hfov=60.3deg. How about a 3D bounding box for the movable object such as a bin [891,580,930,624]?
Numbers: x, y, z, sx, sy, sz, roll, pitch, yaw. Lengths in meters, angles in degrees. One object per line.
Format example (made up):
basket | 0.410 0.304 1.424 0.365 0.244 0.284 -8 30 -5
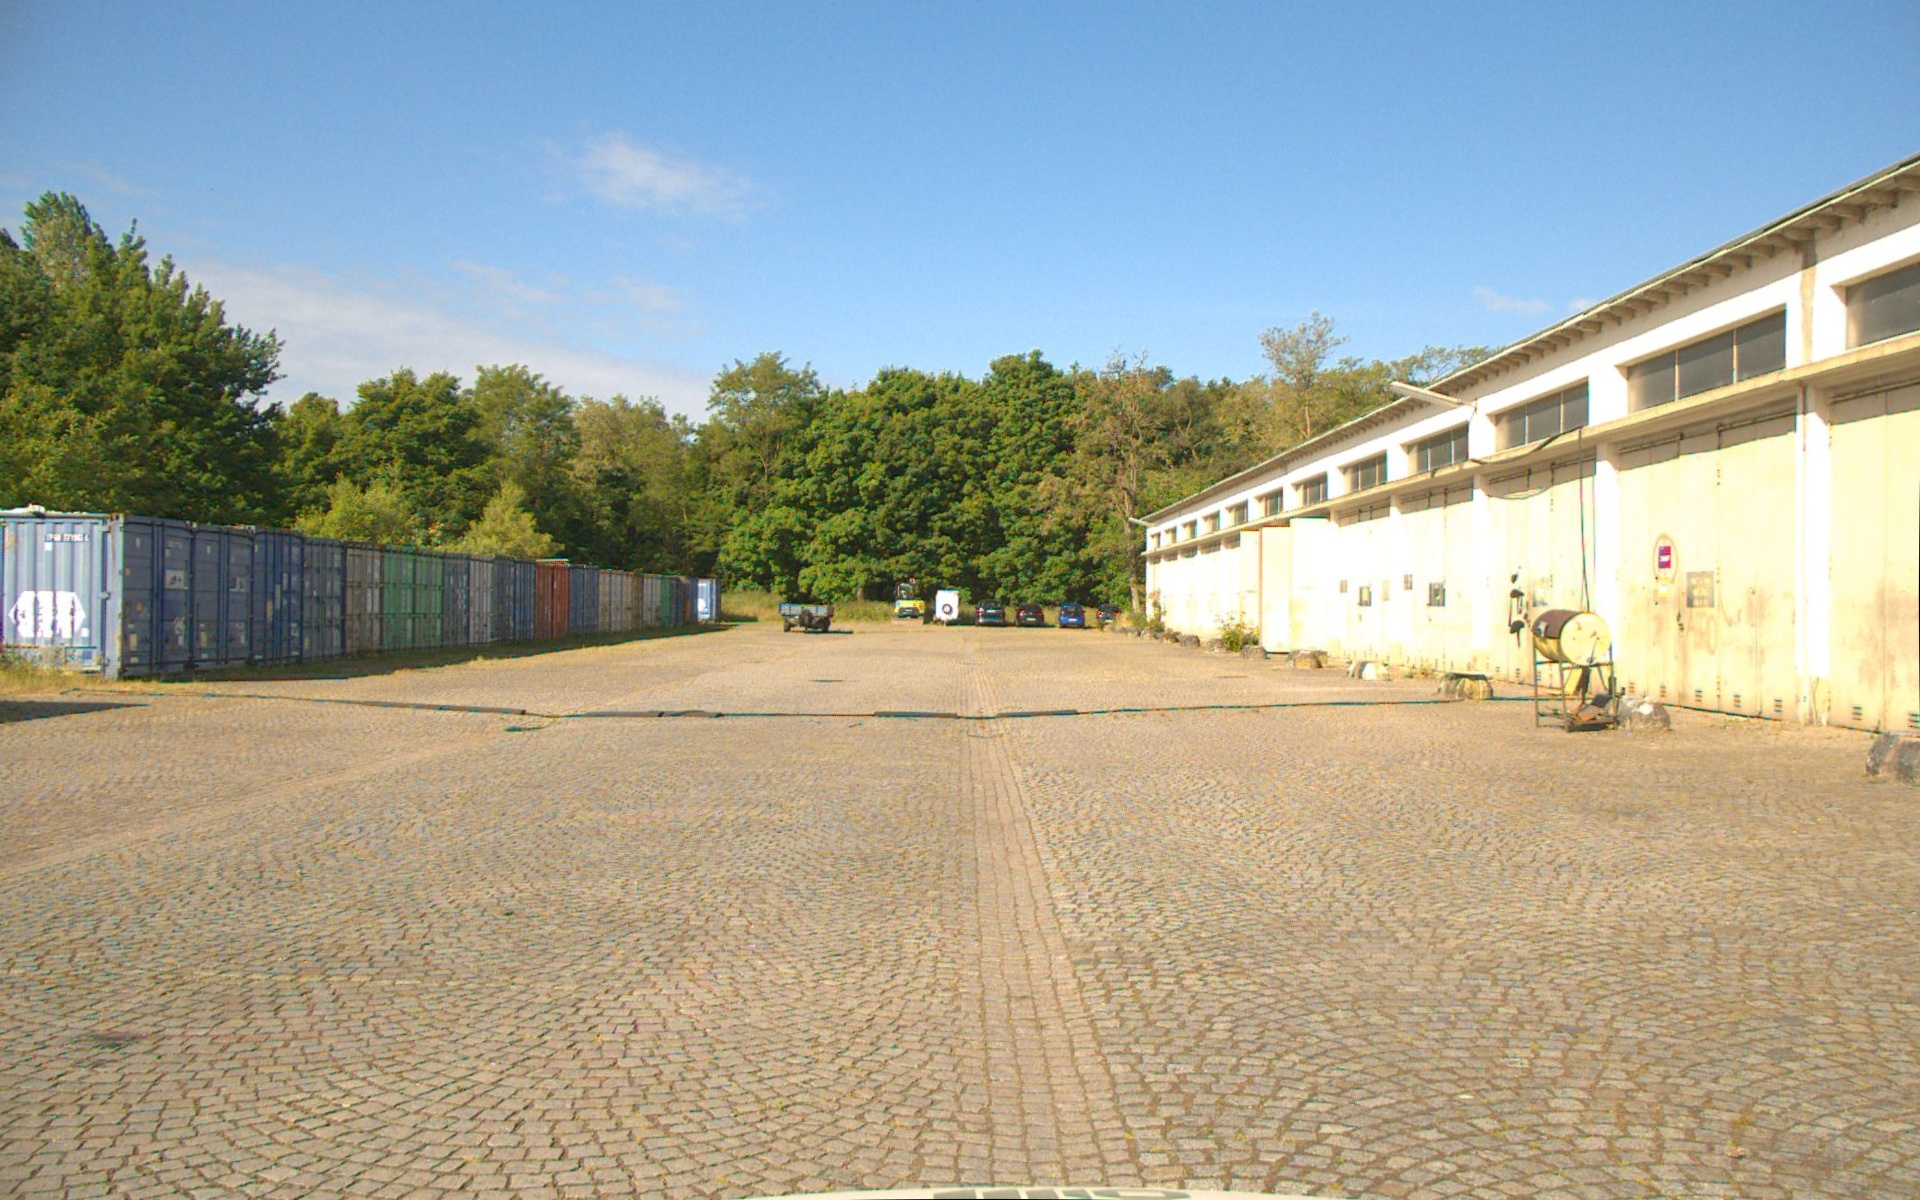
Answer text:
movable object such as a bin | -3.086 0.110 104.230 1.952 2.664 4.002 2 0 4

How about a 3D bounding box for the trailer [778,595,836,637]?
trailer | -7.814 0.811 84.855 2.357 2.049 4.174 2 0 2

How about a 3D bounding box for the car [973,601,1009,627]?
car | 1.934 0.849 102.284 1.822 1.613 4.003 0 0 7

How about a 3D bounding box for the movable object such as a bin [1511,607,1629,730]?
movable object such as a bin | 6.957 0.762 18.912 0.807 1.355 1.279 0 0 -5

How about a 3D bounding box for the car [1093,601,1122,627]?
car | 9.272 0.847 103.759 1.649 1.591 4.003 0 0 7

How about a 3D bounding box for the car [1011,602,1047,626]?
car | 4.274 0.866 102.328 1.951 1.488 4.003 0 0 7

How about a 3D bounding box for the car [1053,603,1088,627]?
car | 6.873 0.906 102.510 1.951 1.445 4.003 0 0 7

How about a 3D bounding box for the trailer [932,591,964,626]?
trailer | -0.738 0.525 103.966 1.756 2.126 3.973 0 0 4
